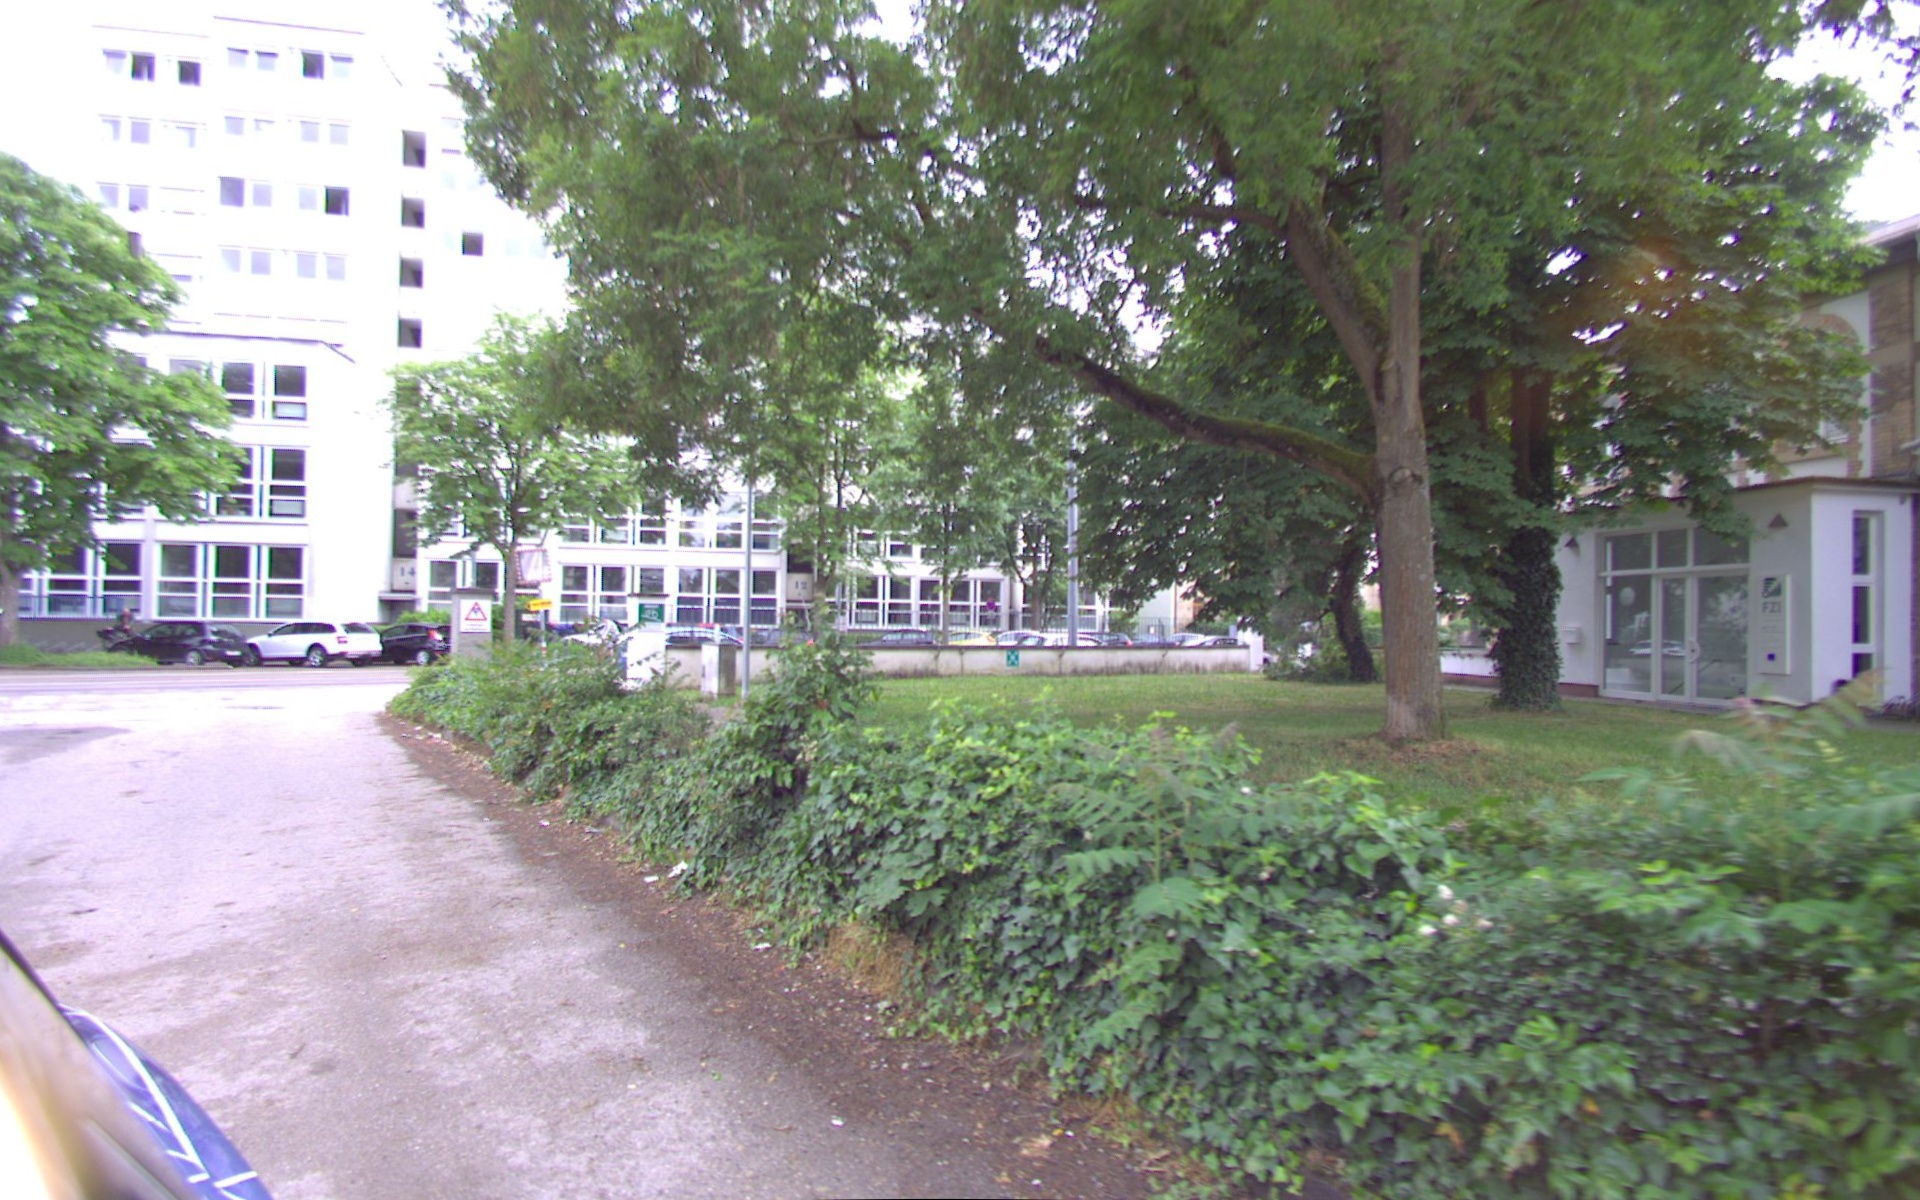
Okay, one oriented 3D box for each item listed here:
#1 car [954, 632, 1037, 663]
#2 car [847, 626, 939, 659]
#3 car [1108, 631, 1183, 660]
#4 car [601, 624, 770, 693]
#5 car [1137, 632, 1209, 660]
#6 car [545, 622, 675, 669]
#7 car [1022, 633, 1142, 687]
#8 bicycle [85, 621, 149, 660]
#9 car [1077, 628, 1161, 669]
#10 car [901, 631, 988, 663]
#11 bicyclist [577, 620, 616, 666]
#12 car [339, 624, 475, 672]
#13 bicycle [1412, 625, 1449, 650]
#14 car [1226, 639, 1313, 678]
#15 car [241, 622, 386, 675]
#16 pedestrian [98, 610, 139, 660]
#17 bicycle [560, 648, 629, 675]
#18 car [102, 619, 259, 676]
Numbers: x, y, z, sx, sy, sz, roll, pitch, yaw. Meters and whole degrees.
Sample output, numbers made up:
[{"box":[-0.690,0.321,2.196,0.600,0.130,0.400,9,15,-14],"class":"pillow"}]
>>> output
[{"box":[1.756,2.326,49.668,3.922,1.362,1.696,1,-1,8],"class":"car"},{"box":[-3.029,1.915,46.064,3.922,1.362,1.696,1,-1,8],"class":"car"},{"box":[10.239,2.490,55.816,3.704,1.396,1.683,1,-1,30],"class":"car"},{"box":[-6.285,1.337,23.311,3.377,1.472,1.683,2,-4,-38],"class":"car"},{"box":[12.217,2.604,57.989,3.704,1.396,1.683,1,-1,30],"class":"car"},{"box":[-13.194,1.697,38.283,4.291,1.568,1.697,1,-1,5],"class":"car"},{"box":[3.683,1.761,30.370,3.507,1.492,1.483,2,-1,-38],"class":"car"},{"box":[-28.277,1.362,33.966,1.568,1.278,0.407,1,-2,-28],"class":"bicycle"},{"box":[8.524,2.583,54.228,3.981,2.029,1.981,1,-2,28],"class":"car"},{"box":[-0.710,2.211,47.974,3.922,1.362,1.696,1,-1,8],"class":"car"},{"box":[-12.172,1.436,33.887,1.010,1.512,0.848,2,-3,-36],"class":"bicyclist"},{"box":[-18.714,1.597,34.259,3.992,1.416,1.691,1,-1,16],"class":"car"},{"box":[22.365,1.780,48.094,1.835,1.125,0.668,3,-1,-33],"class":"bicycle"},{"box":[11.061,2.053,36.118,3.128,1.312,1.516,2,-2,-40],"class":"car"},{"box":[-20.668,1.511,32.375,3.992,1.495,1.691,1,-1,16],"class":"car"},{"box":[-28.621,1.182,34.432,0.742,1.623,0.736,3,-1,-16],"class":"pedestrian"},{"box":[-12.191,2.037,33.801,2.103,0.875,0.472,2,-3,-36],"class":"bicycle"},{"box":[-23.458,1.402,30.508,3.664,1.535,1.695,1,-1,9],"class":"car"}]
